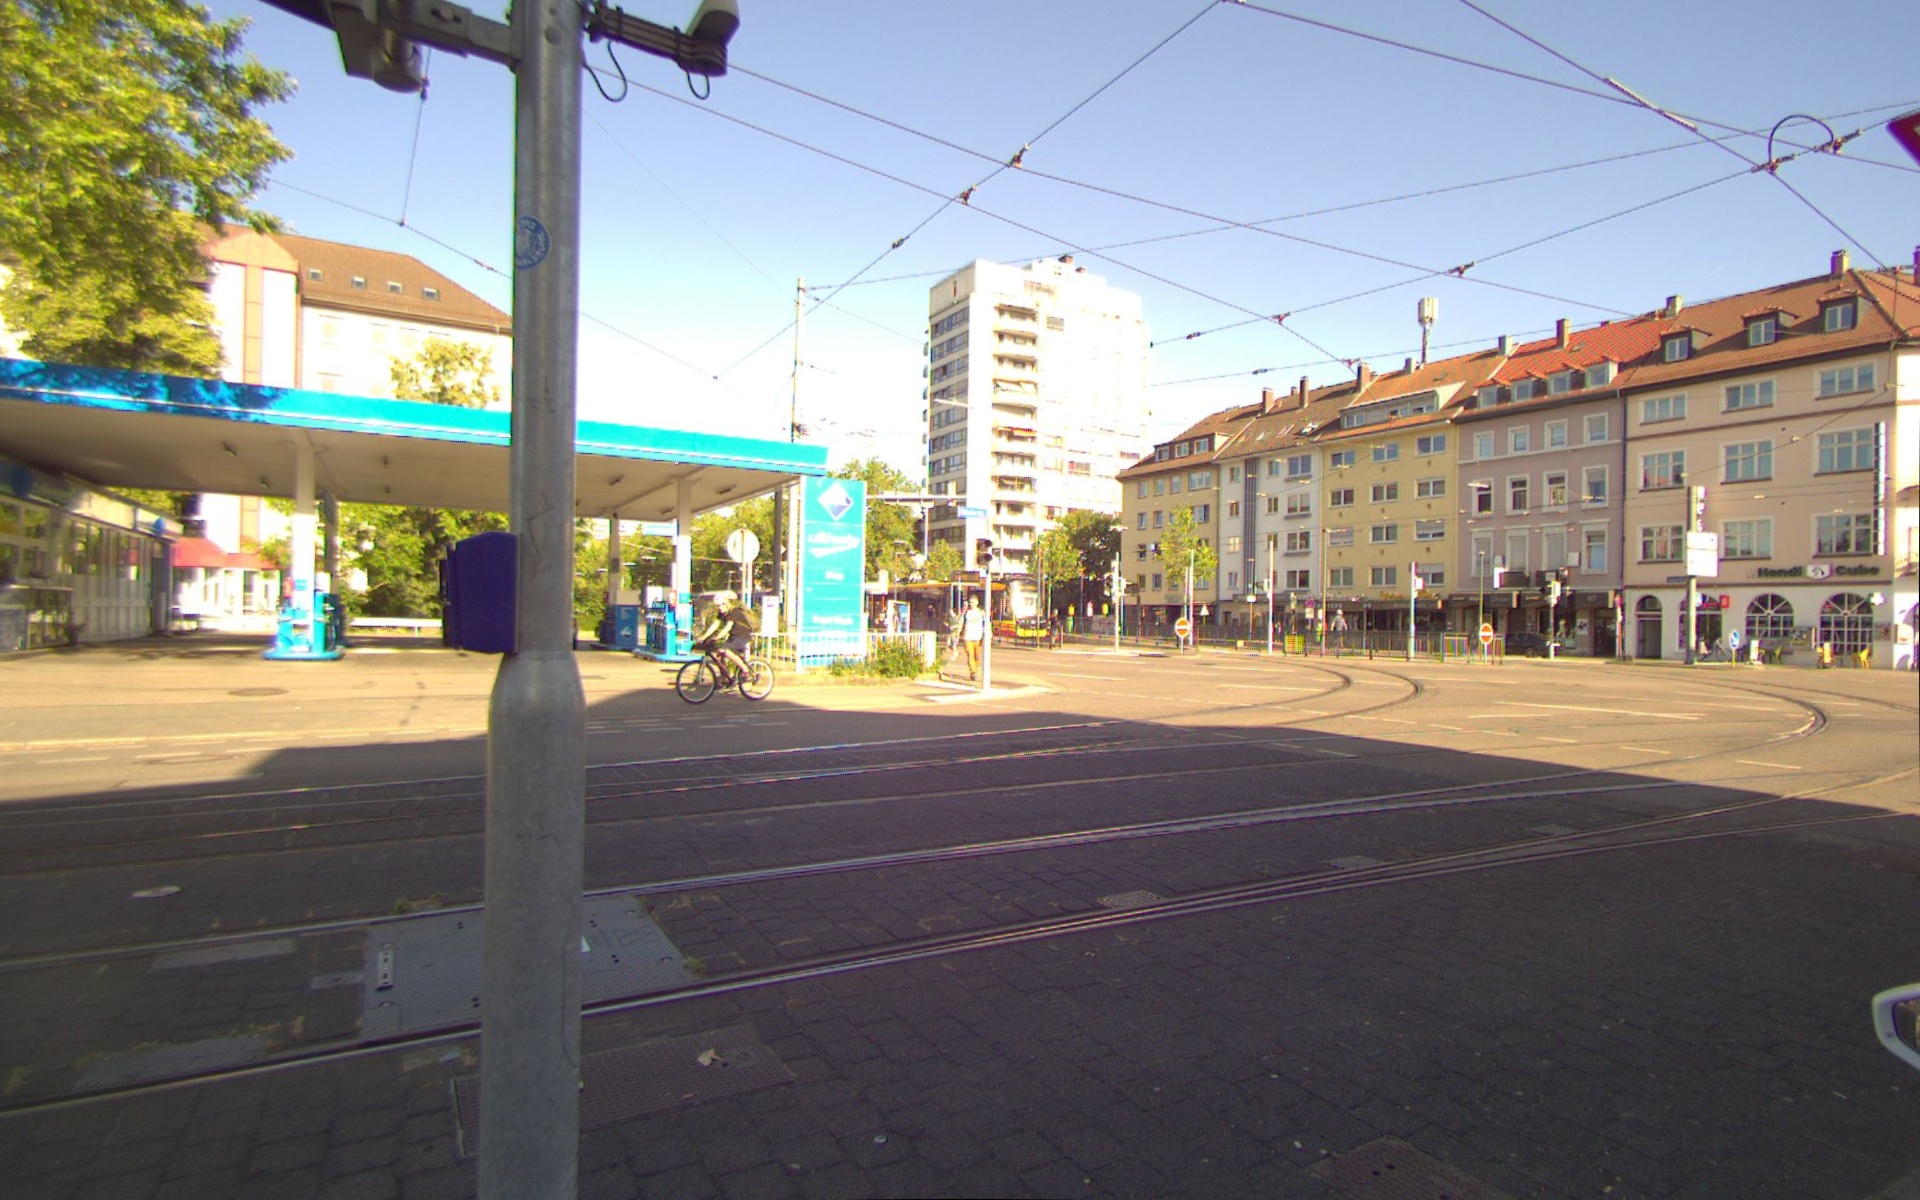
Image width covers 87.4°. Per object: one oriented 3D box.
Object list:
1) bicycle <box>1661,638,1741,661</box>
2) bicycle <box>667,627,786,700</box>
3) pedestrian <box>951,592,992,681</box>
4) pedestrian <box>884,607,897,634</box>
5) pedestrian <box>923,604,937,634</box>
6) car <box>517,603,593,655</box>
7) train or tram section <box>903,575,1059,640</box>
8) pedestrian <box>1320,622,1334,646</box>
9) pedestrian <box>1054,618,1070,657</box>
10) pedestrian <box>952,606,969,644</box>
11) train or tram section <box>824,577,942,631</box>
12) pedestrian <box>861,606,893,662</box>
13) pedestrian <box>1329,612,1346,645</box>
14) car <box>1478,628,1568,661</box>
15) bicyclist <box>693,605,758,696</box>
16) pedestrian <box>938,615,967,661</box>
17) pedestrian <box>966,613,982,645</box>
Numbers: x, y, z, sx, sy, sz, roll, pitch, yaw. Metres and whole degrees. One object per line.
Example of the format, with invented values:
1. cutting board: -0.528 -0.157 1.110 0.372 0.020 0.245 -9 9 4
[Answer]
1. bicycle: 37.502 2.498 50.900 0.989 0.993 3.115 2 0 -29
2. bicycle: -3.680 0.983 15.924 1.783 1.084 0.567 2 0 -45
3. pedestrian: 0.250 0.787 21.867 0.778 1.893 0.674 2 0 6
4. pedestrian: -4.226 1.240 61.105 0.580 1.613 0.520 2 0 -31
5. pedestrian: -1.688 1.064 56.148 0.580 1.613 0.520 2 0 -31
6. car: -12.150 0.842 30.011 1.764 1.411 3.455 2 0 -28
7. train or tram section: 0.843 0.351 57.378 2.751 3.273 12.286 2 0 -31
8. pedestrian: 25.900 2.375 70.926 0.693 1.656 0.629 2 0 -33
9. pedestrian: 4.457 1.647 44.029 0.575 1.686 0.525 2 0 15
10. pedestrian: 0.015 1.287 51.891 0.666 1.913 0.520 2 0 -31
11. train or tram section: -5.461 0.201 67.960 2.751 3.273 12.286 2 0 -31
12. pedestrian: -2.522 1.033 30.440 0.675 1.656 0.694 2 0 -35
13. pedestrian: 19.217 1.449 51.164 0.570 1.649 0.522 2 0 -31
14. car: 30.857 2.423 55.144 1.970 1.692 3.981 1 -1 -21
15. bicyclist: -3.697 0.790 15.860 0.797 1.384 0.553 2 0 -45
16. pedestrian: -0.248 1.331 35.617 0.692 1.608 0.821 0 -1 30
17. pedestrian: 0.722 1.472 50.785 0.580 1.613 0.520 2 0 -31
